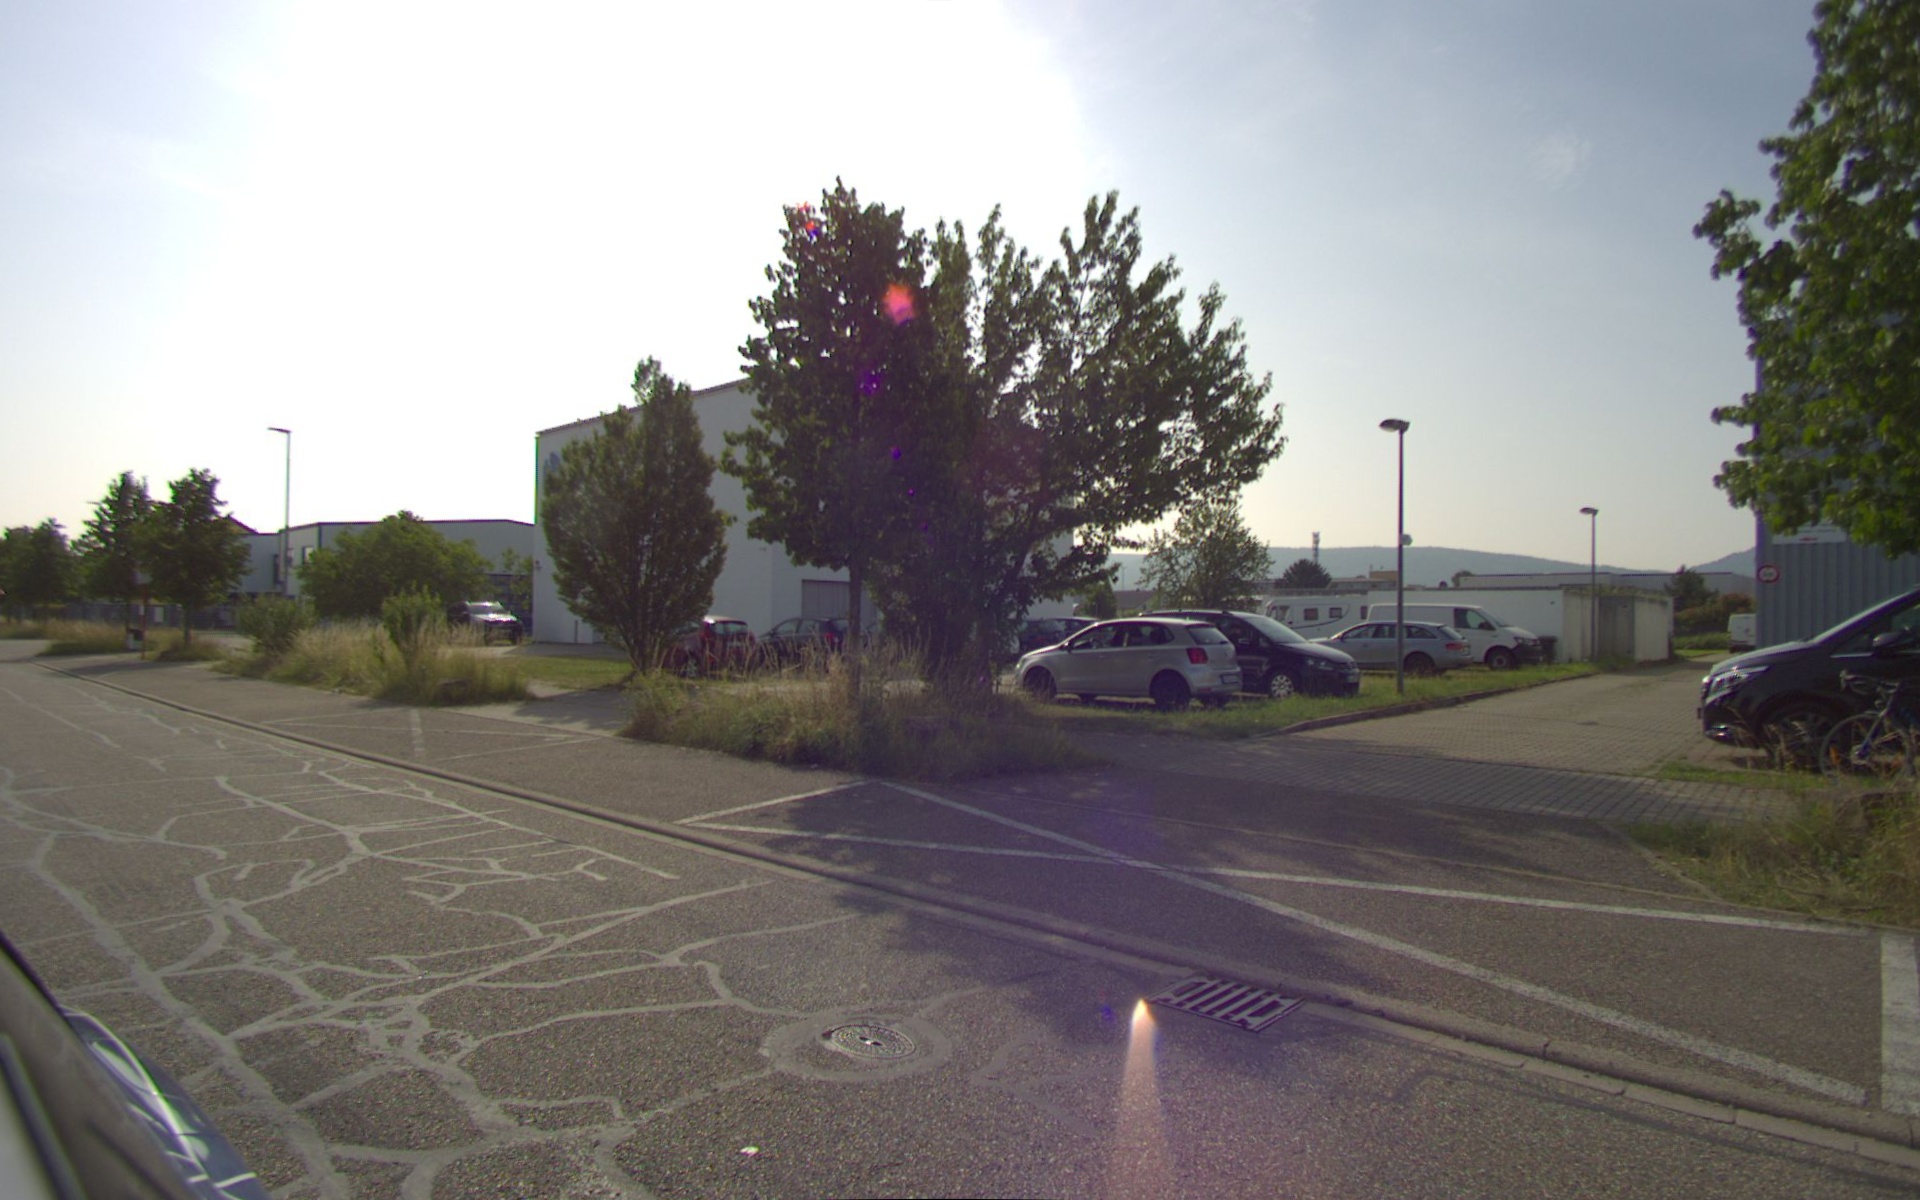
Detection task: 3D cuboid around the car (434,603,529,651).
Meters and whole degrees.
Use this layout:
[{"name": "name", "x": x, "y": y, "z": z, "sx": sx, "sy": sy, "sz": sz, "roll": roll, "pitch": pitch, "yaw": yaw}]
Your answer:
[{"name": "car", "x": -19.831, "y": 1.095, "z": 41.871, "sx": 4.696, "sy": 1.852, "sz": 1.971, "roll": -1, "pitch": -2, "yaw": 44}]

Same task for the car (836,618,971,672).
[{"name": "car", "x": -1.705, "y": 1.267, "z": 29.780, "sx": 3.918, "sy": 1.479, "sz": 1.735, "roll": -1, "pitch": -2, "yaw": 43}]

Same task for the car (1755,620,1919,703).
[{"name": "car", "x": 17.586, "y": 1.095, "z": 18.442, "sx": 4.780, "sy": 1.472, "sz": 1.697, "roll": -1, "pitch": -2, "yaw": 42}]

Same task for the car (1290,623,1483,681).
[{"name": "car", "x": 11.069, "y": 1.300, "z": 26.426, "sx": 4.377, "sy": 1.383, "sz": 1.715, "roll": -1, "pitch": -2, "yaw": 38}]

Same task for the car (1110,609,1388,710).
[{"name": "car", "x": 5.165, "y": 1.002, "z": 18.472, "sx": 4.507, "sy": 1.619, "sz": 1.922, "roll": -1, "pitch": -2, "yaw": 41}]

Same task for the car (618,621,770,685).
[{"name": "car", "x": -6.524, "y": 1.219, "z": 24.628, "sx": 3.918, "sy": 1.420, "sz": 1.735, "roll": -1, "pitch": -2, "yaw": 43}]

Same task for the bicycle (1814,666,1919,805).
[{"name": "bicycle", "x": 7.472, "y": 1.011, "z": 7.366, "sx": 0.534, "sy": 0.986, "sz": 1.872, "roll": 1, "pitch": -2, "yaw": -44}]

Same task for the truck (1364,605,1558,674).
[{"name": "truck", "x": 14.986, "y": 1.135, "z": 30.425, "sx": 4.947, "sy": 1.918, "sz": 1.974, "roll": -1, "pitch": -2, "yaw": 39}]

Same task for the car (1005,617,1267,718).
[{"name": "car", "x": 2.831, "y": 1.026, "z": 16.702, "sx": 3.915, "sy": 1.460, "sz": 1.767, "roll": -1, "pitch": -2, "yaw": 40}]

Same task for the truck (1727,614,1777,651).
[{"name": "truck", "x": 47.925, "y": 1.959, "z": 61.220, "sx": 2.000, "sy": 2.145, "sz": 4.943, "roll": -1, "pitch": -2, "yaw": 42}]

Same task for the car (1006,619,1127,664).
[{"name": "car", "x": 3.649, "y": 1.395, "z": 35.065, "sx": 3.918, "sy": 1.479, "sz": 1.735, "roll": -1, "pitch": -2, "yaw": 43}]

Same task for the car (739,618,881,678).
[{"name": "car", "x": -4.081, "y": 1.235, "z": 27.251, "sx": 3.918, "sy": 1.479, "sz": 1.735, "roll": -1, "pitch": -2, "yaw": 43}]

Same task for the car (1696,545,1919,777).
[{"name": "car", "x": 9.684, "y": 0.547, "z": 8.936, "sx": 4.989, "sy": 2.029, "sz": 1.862, "roll": -1, "pitch": -3, "yaw": 42}]

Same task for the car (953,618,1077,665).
[{"name": "car", "x": 1.794, "y": 1.339, "z": 33.587, "sx": 3.918, "sy": 1.479, "sz": 1.735, "roll": -1, "pitch": -2, "yaw": 43}]

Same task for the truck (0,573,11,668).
[{"name": "truck", "x": -32.734, "y": 0.592, "z": 32.364, "sx": 8.839, "sy": 2.855, "sz": 2.480, "roll": -1, "pitch": -4, "yaw": 41}]
